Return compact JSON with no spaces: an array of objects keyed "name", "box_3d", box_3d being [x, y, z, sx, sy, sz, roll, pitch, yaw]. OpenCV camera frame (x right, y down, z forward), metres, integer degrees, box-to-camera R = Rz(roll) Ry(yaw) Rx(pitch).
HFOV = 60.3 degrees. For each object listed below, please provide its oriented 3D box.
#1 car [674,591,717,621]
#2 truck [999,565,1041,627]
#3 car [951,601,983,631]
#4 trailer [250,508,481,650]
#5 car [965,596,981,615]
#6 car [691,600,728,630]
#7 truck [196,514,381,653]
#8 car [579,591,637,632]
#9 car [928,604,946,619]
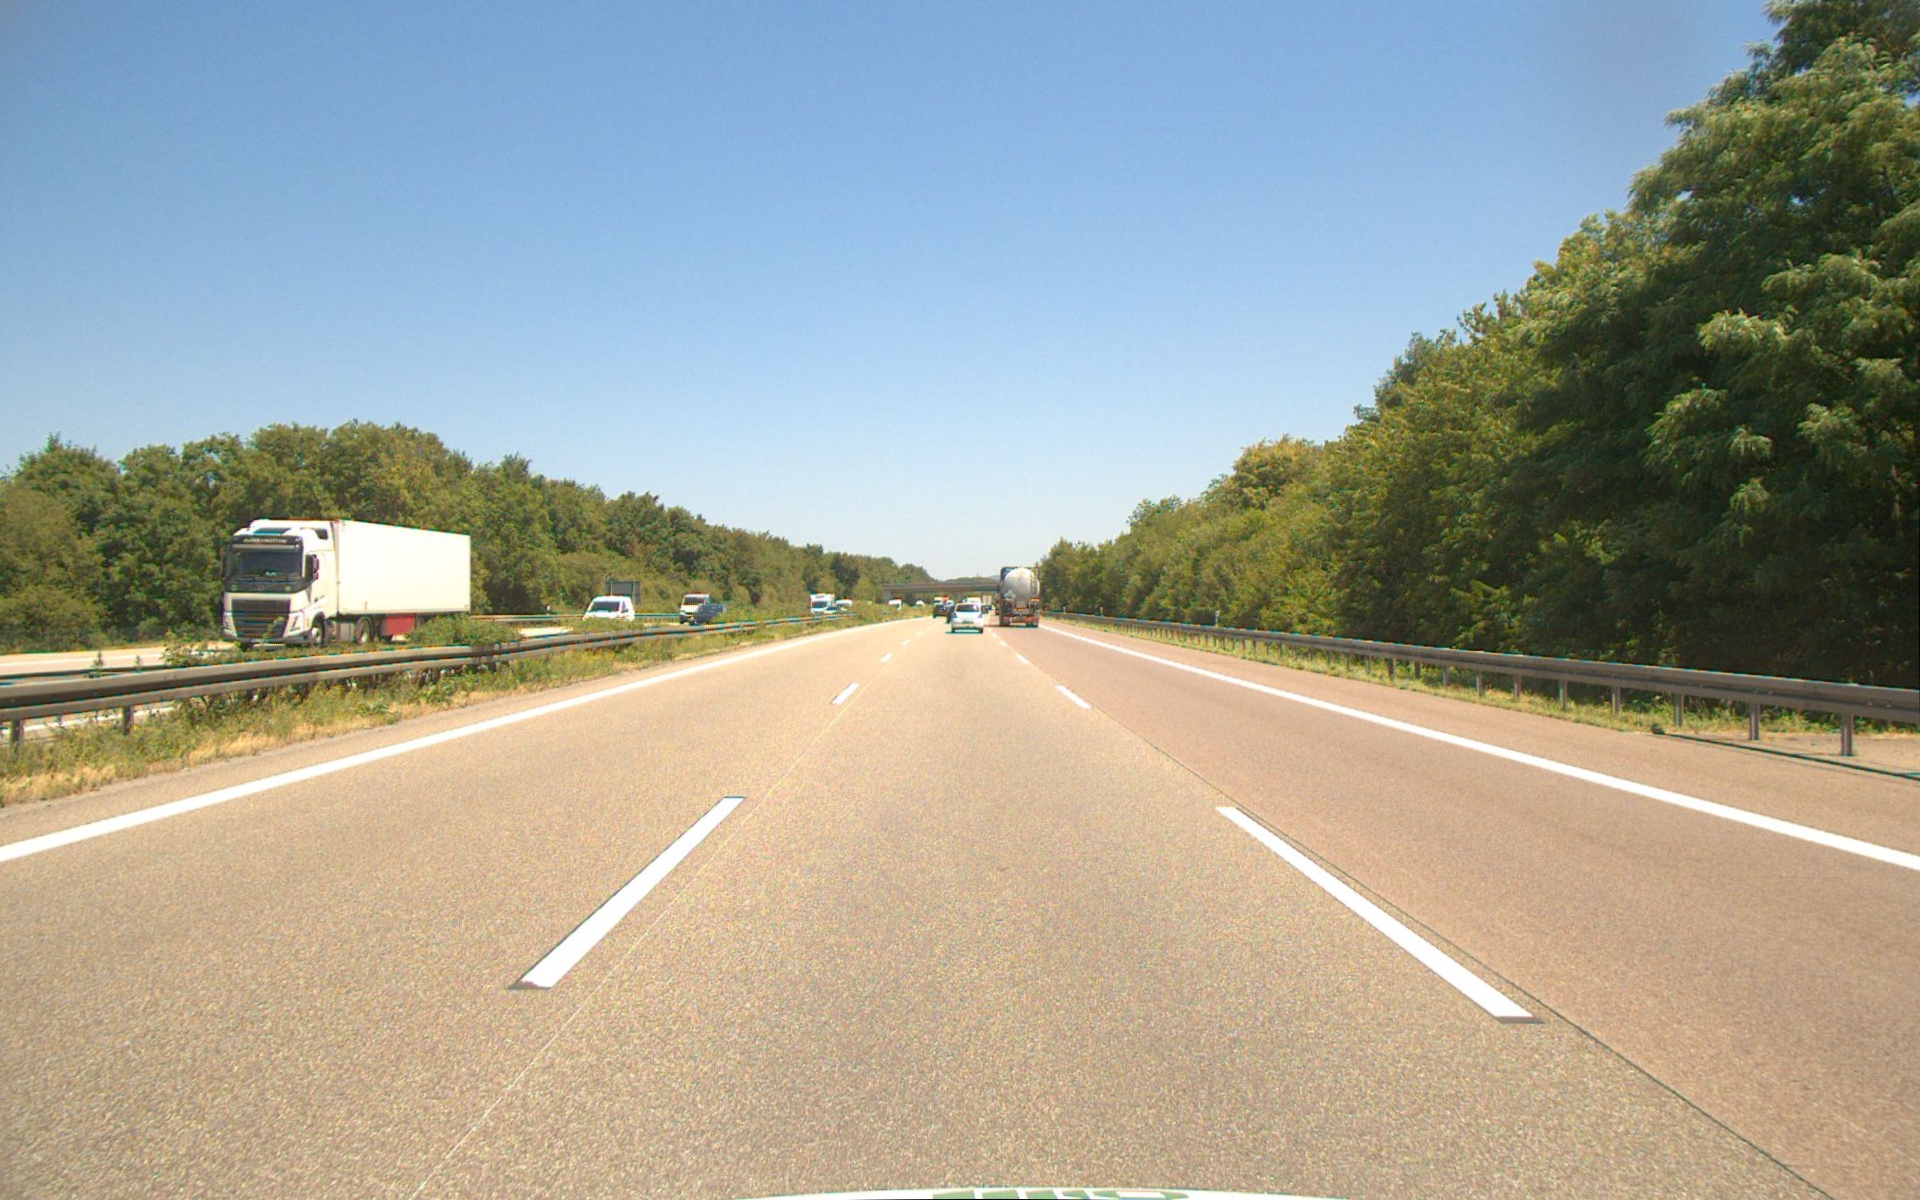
[{"name":"car","box_3d":[-20.266,0.450,127.122,2.198,2.210,6.541,0,0,0]},{"name":"truck","box_3d":[4.121,-0.242,115.253,2.683,4.123,10.455,0,0,1]},{"name":"car","box_3d":[0.344,0.803,85.772,1.594,1.505,3.999,0,0,-1]},{"name":"trailer","box_3d":[-20.726,-0.656,58.989,3.243,4.438,13.587,0,0,0]},{"name":"car","box_3d":[1.678,0.663,213.925,1.952,2.384,4.388,0,0,2]},{"name":"car","box_3d":[-12.542,0.739,82.835,1.346,1.452,3.455,0,0,0]},{"name":"truck","box_3d":[-20.740,-0.468,51.491,3.194,4.020,6.100,1,0,0]},{"name":"car","box_3d":[-16.648,0.528,78.354,1.778,1.909,4.877,0,0,-1]},{"name":"car","box_3d":[-2.745,1.412,198.466,1.952,1.756,4.786,0,0,1]}]
